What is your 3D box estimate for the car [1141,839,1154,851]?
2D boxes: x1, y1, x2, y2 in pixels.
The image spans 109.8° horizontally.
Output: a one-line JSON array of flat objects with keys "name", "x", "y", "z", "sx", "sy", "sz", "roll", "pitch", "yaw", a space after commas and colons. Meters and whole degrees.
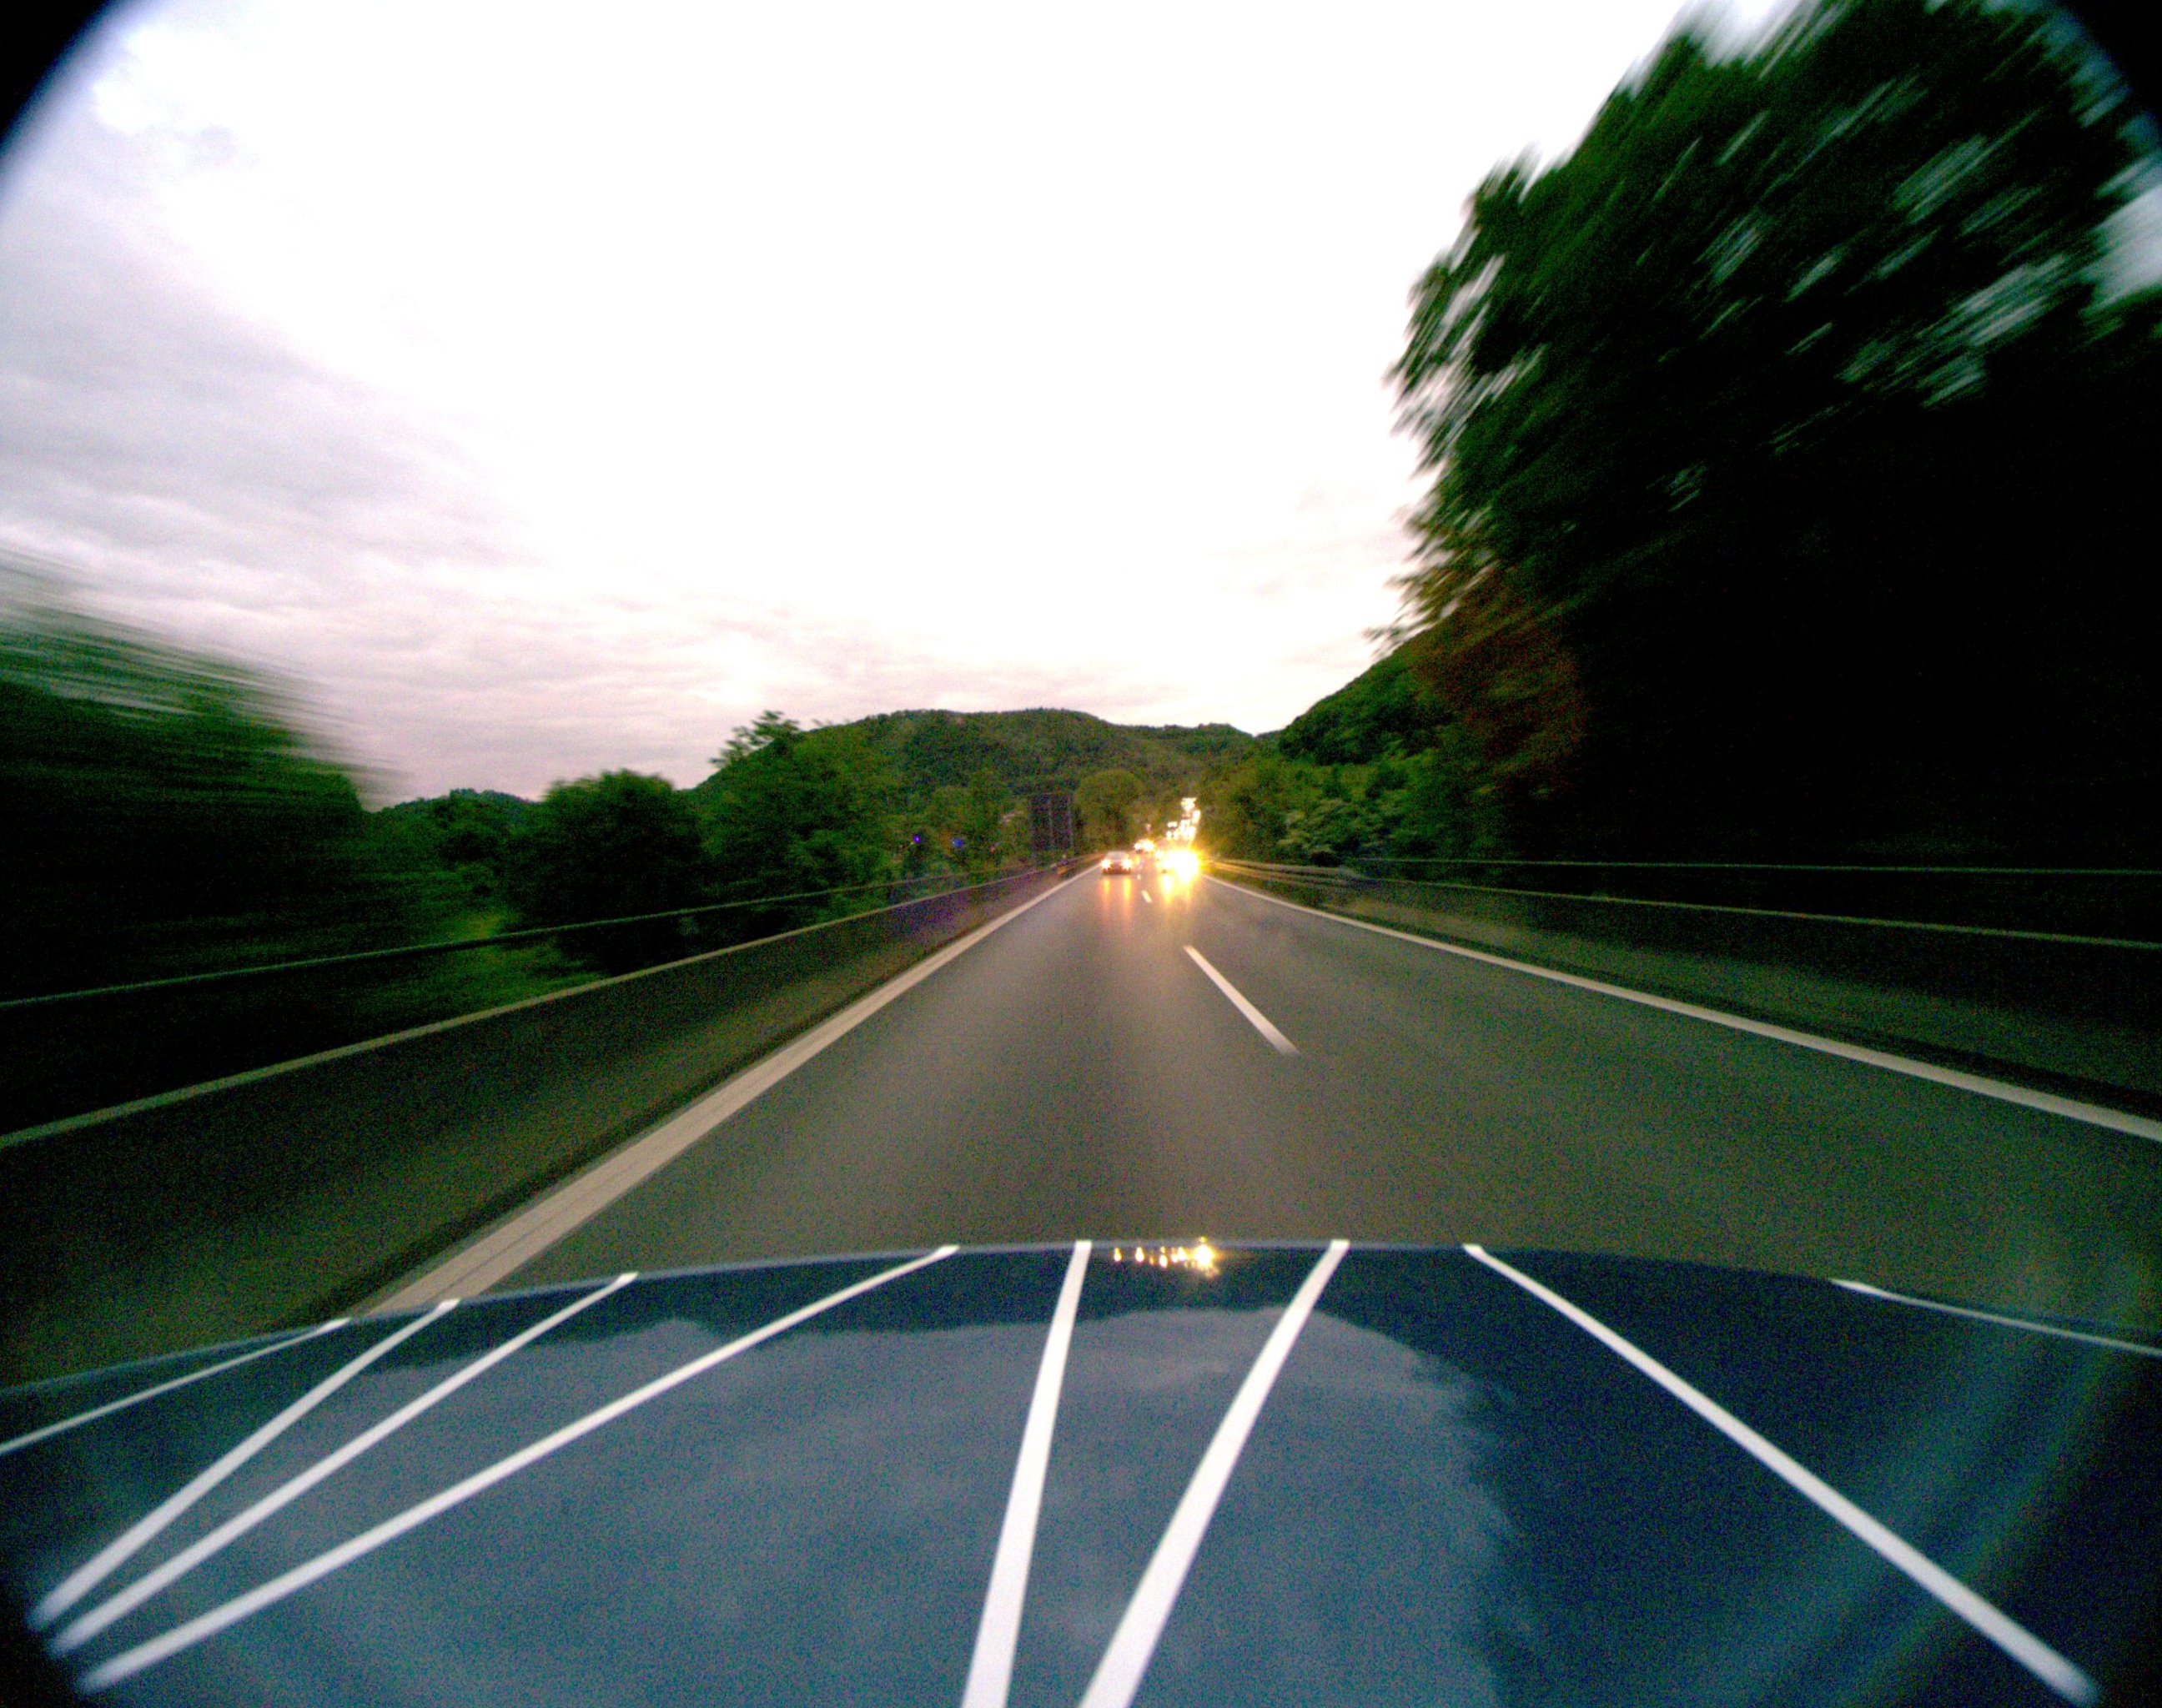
[{"name": "car", "x": 9.664, "y": -1.308, "z": 109.974, "sx": 1.737, "sy": 1.641, "sz": 3.670, "roll": -2, "pitch": 1, "yaw": 6}]

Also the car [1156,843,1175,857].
[{"name": "car", "x": 8.922, "y": -0.425, "z": 80.370, "sx": 1.690, "sy": 1.425, "sz": 3.669, "roll": -2, "pitch": 1, "yaw": 4}]

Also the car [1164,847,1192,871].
[{"name": "car", "x": 6.399, "y": 0.307, "z": 50.383, "sx": 1.689, "sy": 1.460, "sz": 3.768, "roll": -2, "pitch": 1, "yaw": 5}]

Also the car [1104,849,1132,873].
[{"name": "car", "x": 2.441, "y": 0.443, "z": 50.341, "sx": 1.690, "sy": 1.443, "sz": 3.669, "roll": -2, "pitch": 1, "yaw": 3}]
